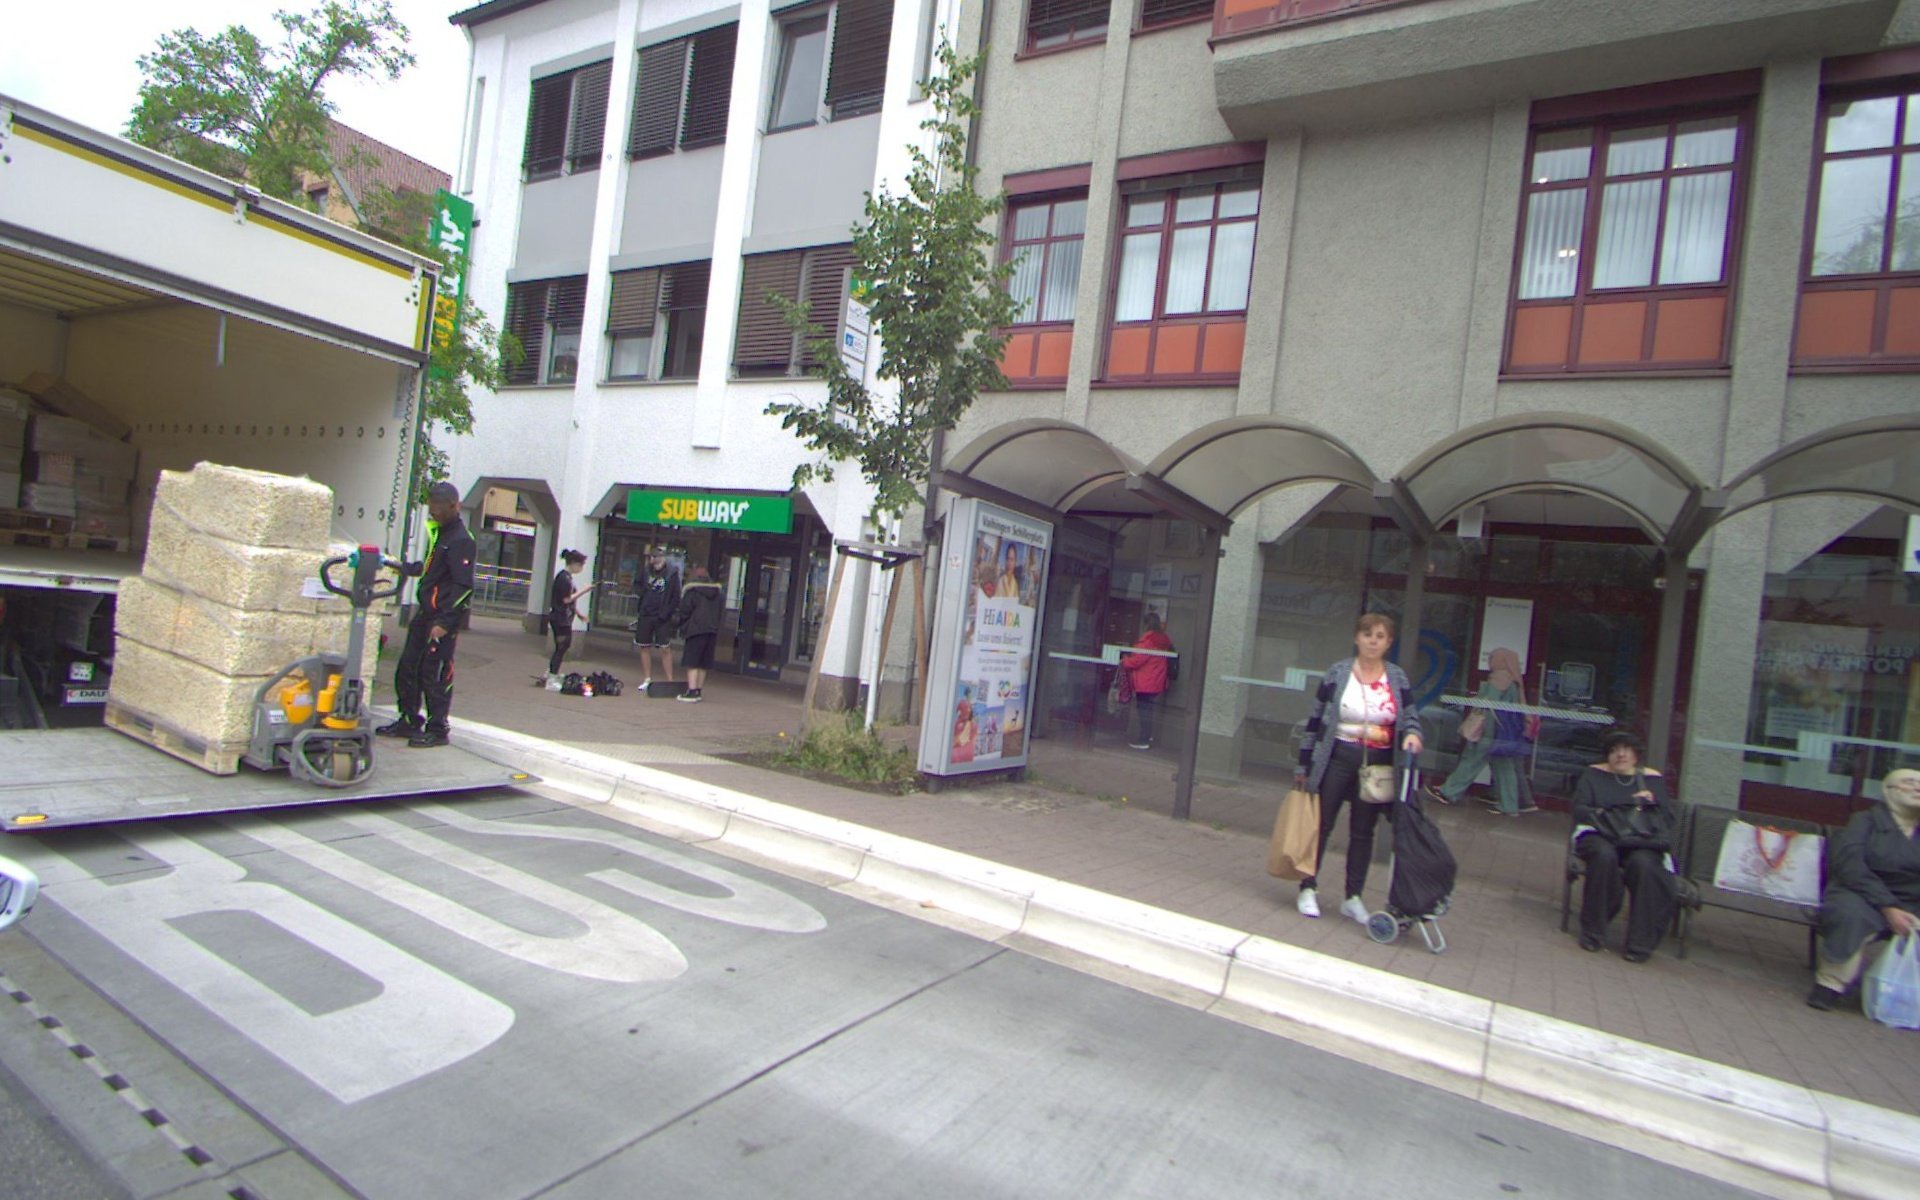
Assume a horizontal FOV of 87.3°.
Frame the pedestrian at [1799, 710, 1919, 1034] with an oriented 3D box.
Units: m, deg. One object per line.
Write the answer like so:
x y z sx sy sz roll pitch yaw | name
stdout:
4.559 1.284 4.885 0.580 1.419 0.611 7 2 45 | pedestrian

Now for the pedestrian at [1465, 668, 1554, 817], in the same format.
5.654 1.449 10.347 0.605 1.392 0.587 7 0 34 | pedestrian

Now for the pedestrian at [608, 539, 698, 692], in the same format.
-3.915 0.197 12.861 0.752 1.842 0.615 6 0 8 | pedestrian

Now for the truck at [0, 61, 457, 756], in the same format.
-8.603 -1.358 8.679 9.604 3.604 2.692 7 0 32 | truck

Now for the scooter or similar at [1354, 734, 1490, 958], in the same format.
2.236 1.181 4.899 0.349 0.971 0.384 7 0 -7 | scooter or similar

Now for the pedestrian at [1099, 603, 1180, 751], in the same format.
2.166 0.914 12.093 0.604 1.654 0.728 7 0 23 | pedestrian

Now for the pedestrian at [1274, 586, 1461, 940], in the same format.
2.091 0.814 5.226 0.577 1.652 0.537 8 -2 7 | pedestrian

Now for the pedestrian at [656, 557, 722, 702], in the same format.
-3.210 0.349 11.972 0.578 1.631 0.613 6 0 -13 | pedestrian

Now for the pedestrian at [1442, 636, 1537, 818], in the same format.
5.229 1.235 9.931 0.605 1.654 0.587 7 0 33 | pedestrian

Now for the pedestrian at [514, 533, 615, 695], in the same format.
-4.602 0.171 11.711 0.578 1.758 0.615 7 -3 31 | pedestrian

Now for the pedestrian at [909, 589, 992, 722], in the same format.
-0.109 0.698 12.605 0.604 1.544 0.727 7 0 25 | pedestrian

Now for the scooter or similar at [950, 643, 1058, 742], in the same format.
0.520 1.088 11.994 1.116 1.012 0.429 7 0 30 | scooter or similar

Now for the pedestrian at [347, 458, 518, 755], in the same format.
-3.402 0.043 6.511 0.578 1.801 0.614 6 0 28 | pedestrian

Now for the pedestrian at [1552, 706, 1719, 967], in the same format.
3.768 1.261 5.604 0.580 1.248 0.698 7 2 41 | pedestrian
